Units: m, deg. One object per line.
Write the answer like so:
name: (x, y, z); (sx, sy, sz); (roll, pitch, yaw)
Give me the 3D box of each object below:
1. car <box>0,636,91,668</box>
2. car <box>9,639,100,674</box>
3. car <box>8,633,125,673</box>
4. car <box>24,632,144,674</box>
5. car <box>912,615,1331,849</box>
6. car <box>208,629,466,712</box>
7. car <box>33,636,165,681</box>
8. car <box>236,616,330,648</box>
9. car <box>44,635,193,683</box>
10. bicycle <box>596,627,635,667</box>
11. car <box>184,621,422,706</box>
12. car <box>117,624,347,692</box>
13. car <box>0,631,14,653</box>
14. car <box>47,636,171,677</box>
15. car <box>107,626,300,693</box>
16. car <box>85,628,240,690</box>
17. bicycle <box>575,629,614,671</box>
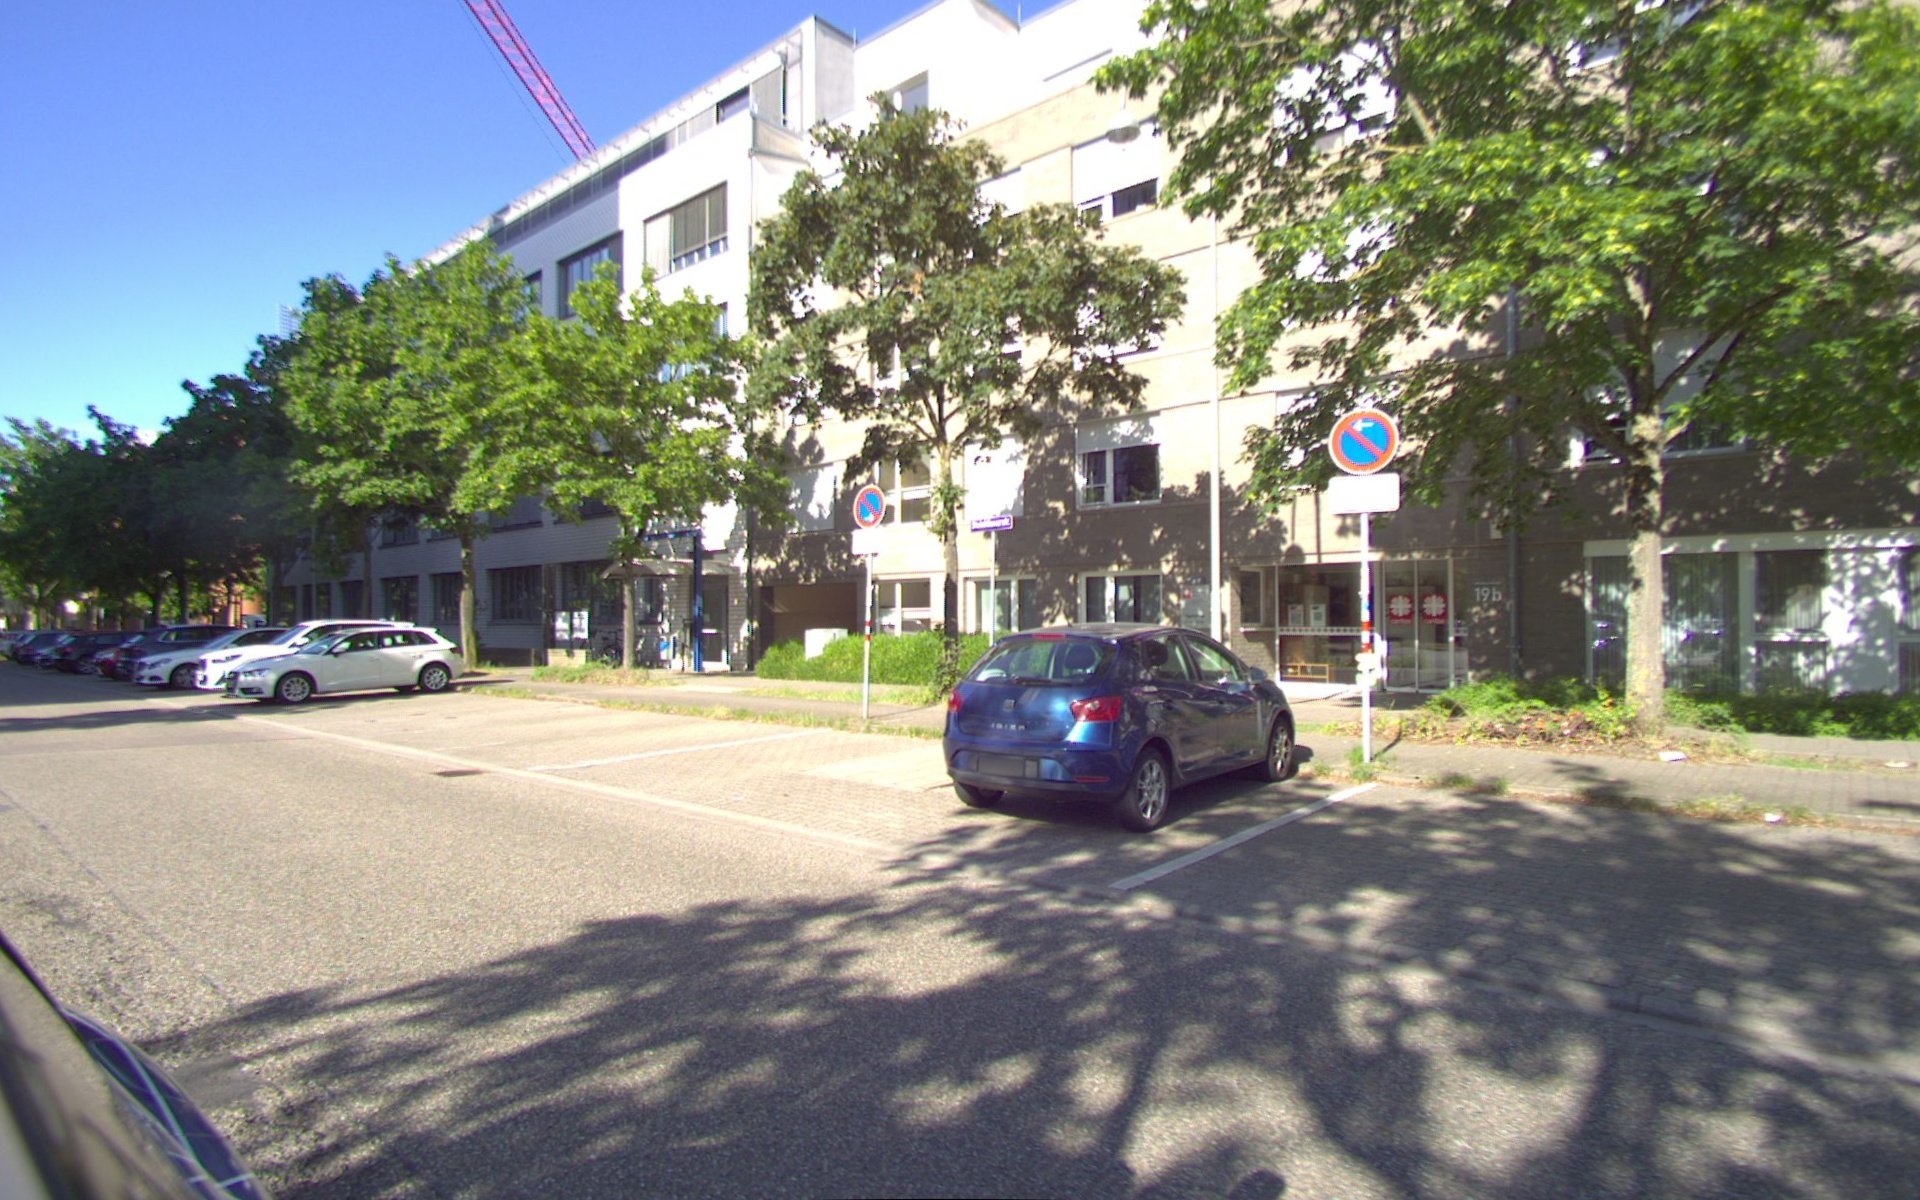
car: (-47.816, 2.692, 52.778); (1.616, 1.519, 3.585); (-1, -1, 39)
car: (-40.777, 2.516, 45.619); (1.389, 1.454, 2.895); (-1, -2, 41)
car: (-37.533, 2.180, 42.571); (1.645, 1.517, 3.494); (-1, -1, 40)
car: (-35.517, 2.122, 41.077); (1.656, 1.541, 3.482); (-1, -1, 40)
car: (1.559, 0.867, 8.475); (1.814, 1.422, 3.949); (-1, -1, 37)
car: (-12.722, 1.367, 20.885); (1.799, 1.491, 4.215); (-2, -2, 40)
car: (-31.827, 2.122, 37.466); (1.656, 1.447, 3.494); (-1, -1, 40)
car: (-48.116, 2.260, 72.025); (1.931, 2.114, 5.262); (-1, -1, 39)
car: (-29.725, 2.055, 35.826); (1.686, 1.424, 3.784); (-4, -1, 40)
bicycle: (-10.374, 1.406, 30.448); (1.627, 1.184, 0.334); (-1, -1, 42)
car: (-14.839, 1.348, 23.036); (1.952, 1.614, 4.181); (-1, 1, 41)
car: (-18.748, 1.438, 26.248); (1.938, 1.462, 4.467); (-2, 0, 37)
car: (-73.859, 3.189, 75.135); (1.953, 1.637, 5.183); (-1, -1, 42)
car: (-33.596, 2.190, 40.029); (1.655, 1.456, 3.496); (-1, -1, 38)
car: (-21.064, 1.600, 28.283); (1.803, 1.632, 4.068); (-2, -1, 42)
car: (-24.407, 1.752, 31.022); (1.655, 1.681, 3.533); (-2, -1, 43)
bicycle: (-10.638, 1.440, 29.451); (1.627, 1.184, 0.334); (-1, -1, 42)
